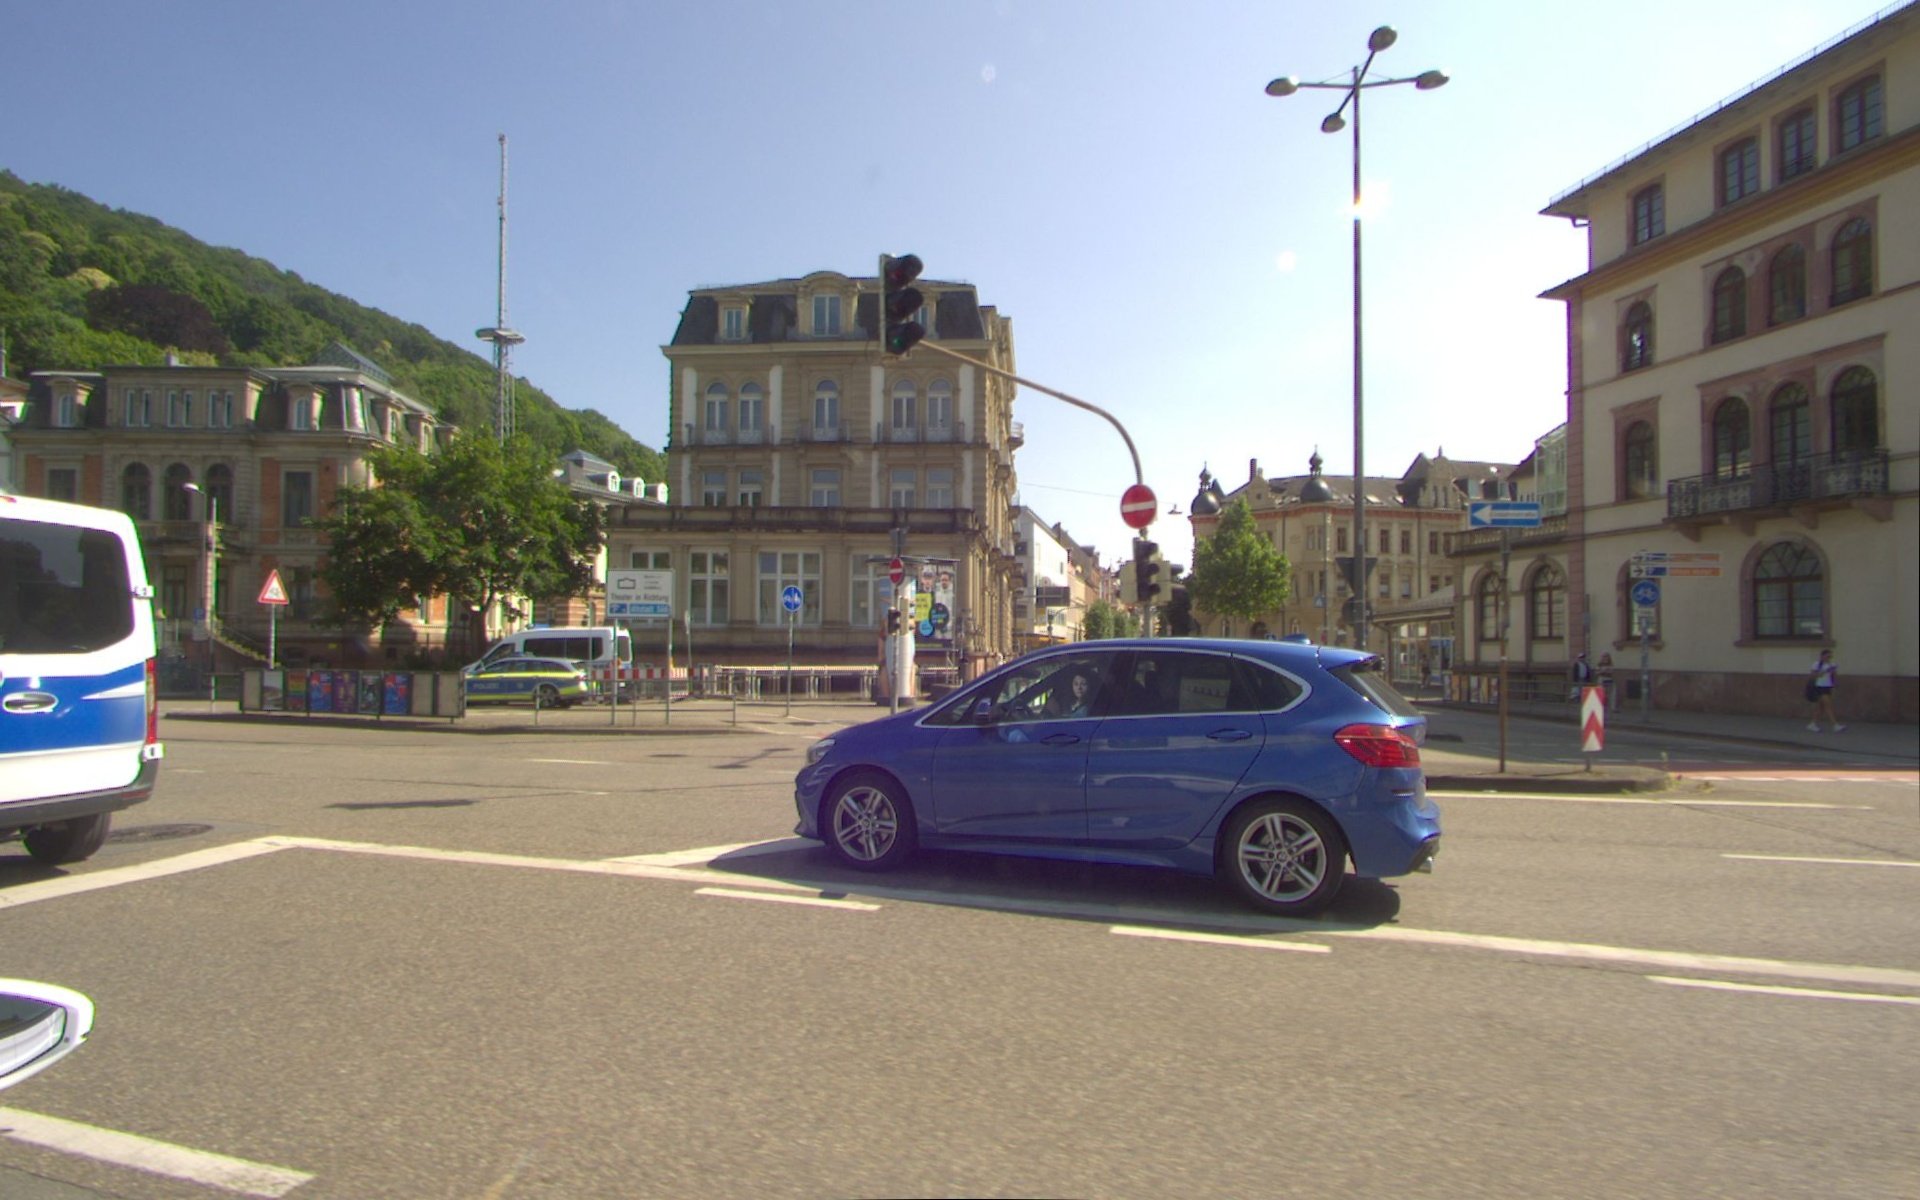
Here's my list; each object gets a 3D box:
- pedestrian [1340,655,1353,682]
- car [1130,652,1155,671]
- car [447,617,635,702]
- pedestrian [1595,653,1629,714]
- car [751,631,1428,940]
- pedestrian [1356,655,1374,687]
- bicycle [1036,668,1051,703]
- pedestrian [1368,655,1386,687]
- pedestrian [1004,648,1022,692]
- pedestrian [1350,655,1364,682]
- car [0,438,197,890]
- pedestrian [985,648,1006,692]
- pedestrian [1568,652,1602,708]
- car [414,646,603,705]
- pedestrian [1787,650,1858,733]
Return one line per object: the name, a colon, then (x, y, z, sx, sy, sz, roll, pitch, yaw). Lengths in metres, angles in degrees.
pedestrian: (23.739, 4.186, 61.487, 0.706, 1.624, 0.724, 0, -2, 16)
car: (15.772, 5.314, 86.508, 1.845, 1.627, 3.870, 0, -3, 6)
car: (-13.543, 1.947, 32.623, 5.214, 2.636, 2.001, 1, -3, -2)
pedestrian: (18.154, 2.309, 27.879, 0.569, 1.669, 0.535, 1, -2, -5)
car: (0.835, 1.025, 6.778, 4.202, 1.560, 1.721, -1, -4, 25)
pedestrian: (20.749, 3.644, 51.340, 0.705, 1.624, 0.724, 0, -2, 9)
bicycle: (2.852, 2.905, 34.227, 0.495, 1.113, 1.821, 0, -2, 5)
pedestrian: (21.319, 3.637, 51.251, 0.705, 1.624, 0.724, 0, -2, 10)
pedestrian: (2.178, 2.835, 40.916, 0.688, 1.773, 0.722, 0, -2, 5)
pedestrian: (24.298, 4.183, 61.320, 0.706, 1.624, 0.724, 0, -2, 15)
car: (-7.665, 0.405, 6.494, 4.845, 2.539, 2.077, -1, -3, 21)
pedestrian: (1.441, 2.843, 40.966, 0.805, 1.762, 0.751, 0, -2, 5)
pedestrian: (18.857, 2.414, 30.213, 0.661, 1.669, 0.535, 1, -2, -9)
car: (-13.402, 2.247, 29.974, 4.785, 1.646, 1.824, 1, -3, -3)
pedestrian: (18.173, 1.911, 21.108, 0.731, 1.716, 0.843, 1, -2, -14)
